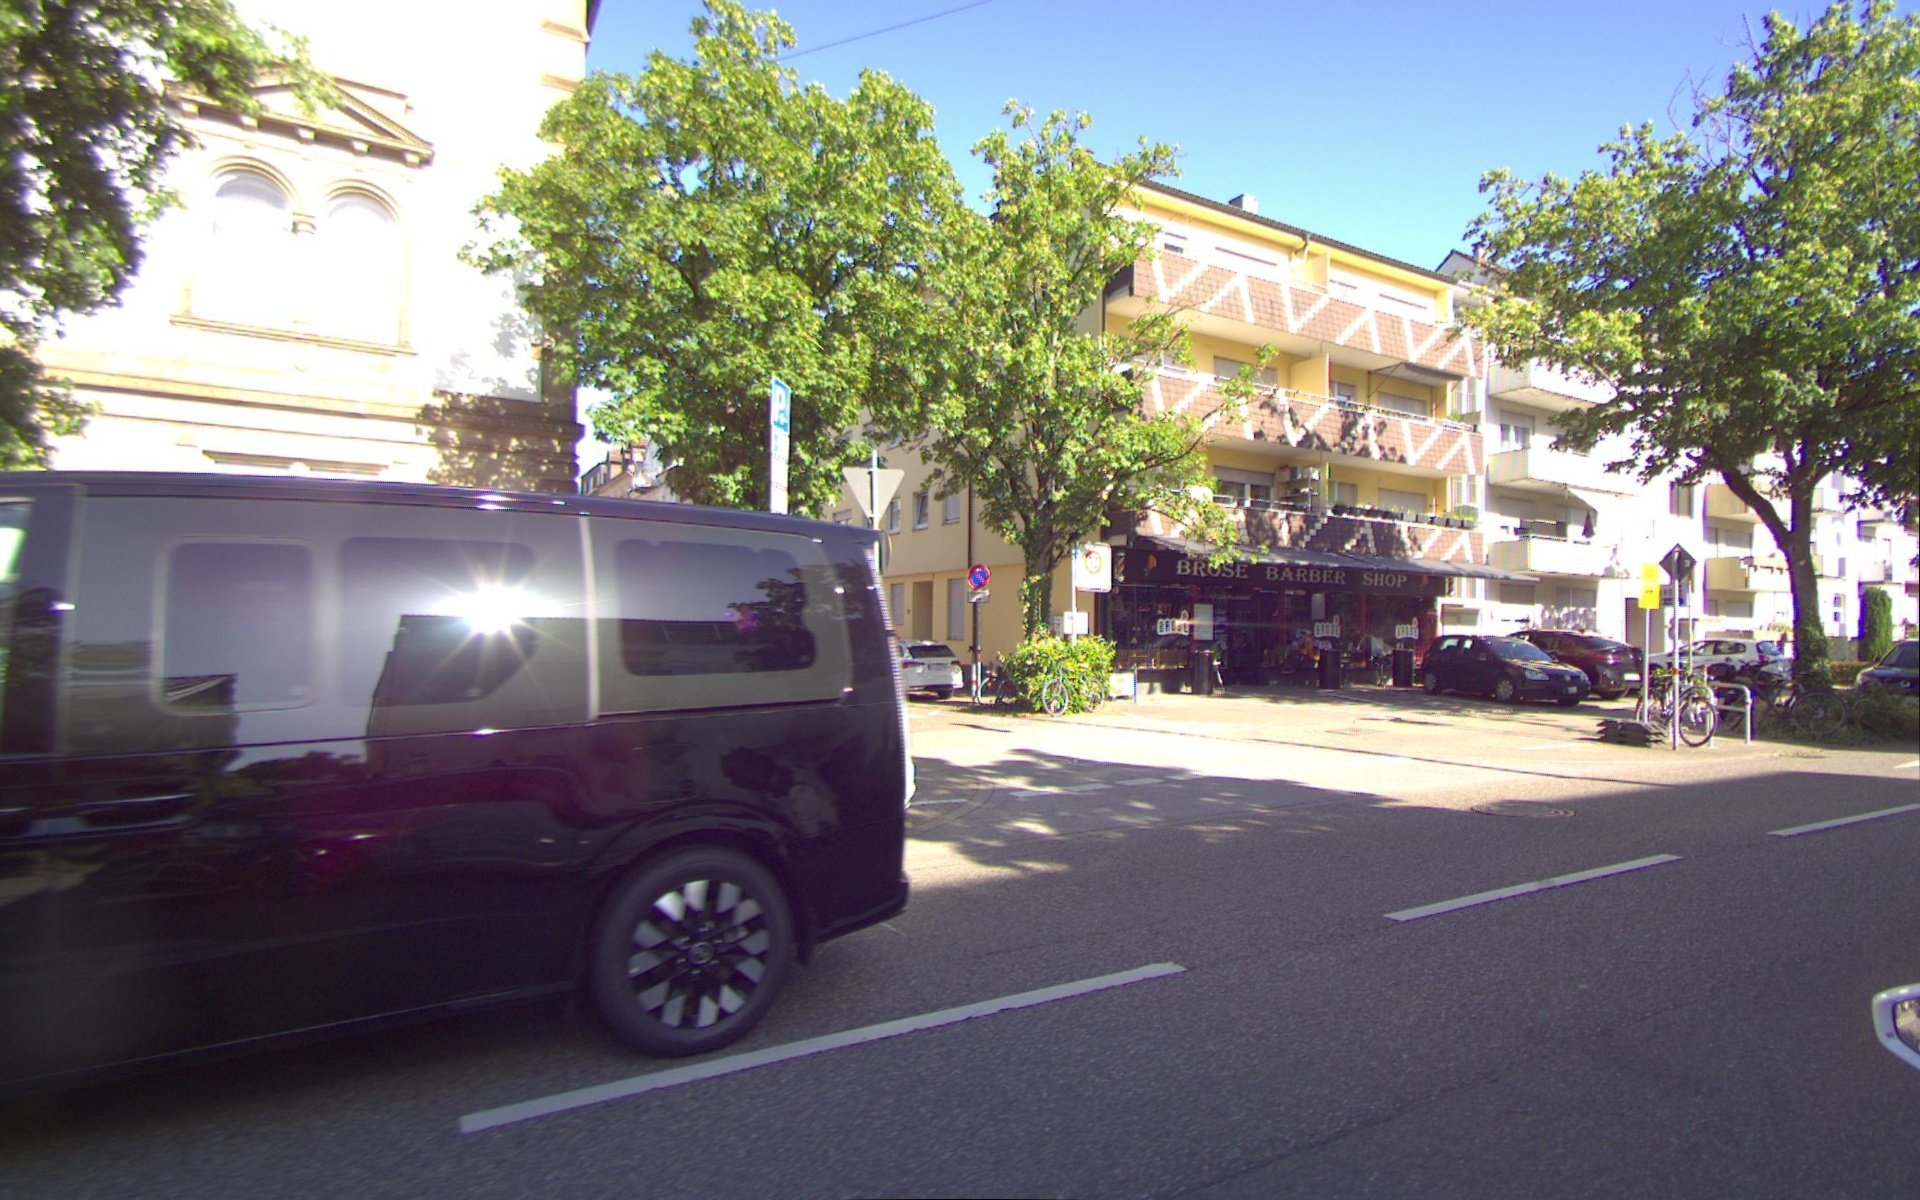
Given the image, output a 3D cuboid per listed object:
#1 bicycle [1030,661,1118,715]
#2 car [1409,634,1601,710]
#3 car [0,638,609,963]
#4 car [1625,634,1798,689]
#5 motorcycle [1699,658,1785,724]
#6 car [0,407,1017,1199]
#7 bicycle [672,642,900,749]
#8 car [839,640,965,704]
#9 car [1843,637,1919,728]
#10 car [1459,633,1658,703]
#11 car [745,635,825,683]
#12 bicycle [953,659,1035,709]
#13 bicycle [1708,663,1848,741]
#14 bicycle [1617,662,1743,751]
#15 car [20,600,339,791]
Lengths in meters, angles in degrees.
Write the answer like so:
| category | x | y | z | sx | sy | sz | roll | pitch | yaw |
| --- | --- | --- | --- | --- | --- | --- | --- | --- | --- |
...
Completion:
| category | x | y | z | sx | sy | sz | roll | pitch | yaw |
| --- | --- | --- | --- | --- | --- | --- | --- | --- | --- |
| bicycle | 2.227 | 1.693 | 19.541 | 1.734 | 0.972 | 0.402 | 0 | -2 | -24 |
| car | 12.266 | 1.566 | 22.922 | 1.702 | 1.475 | 3.992 | 1 | -1 | -11 |
| car | -4.544 | 0.936 | 5.425 | 4.746 | 1.407 | 1.825 | 2 | -1 | -31 |
| car | 23.483 | 1.876 | 31.513 | 1.859 | 1.506 | 3.968 | 1 | -1 | -30 |
| motorcycle | 14.220 | 1.633 | 18.252 | 1.692 | 1.140 | 0.460 | 1 | -1 | -23 |
| car | -2.467 | 0.570 | 3.622 | 5.119 | 1.977 | 2.006 | 2 | -4 | -31 |
| bicycle | -2.433 | 1.276 | 13.901 | 3.116 | 1.278 | 0.952 | 0 | -3 | 26 |
| car | -1.554 | 1.758 | 25.540 | 1.627 | 1.461 | 3.969 | 0 | -2 | -30 |
| car | 19.026 | 1.557 | 19.448 | 4.088 | 1.617 | 1.714 | 2 | -1 | -30 |
| car | 14.410 | 1.585 | 24.452 | 1.707 | 1.480 | 3.981 | 1 | -1 | -21 |
| car | -5.799 | 1.891 | 33.041 | 1.475 | 1.461 | 3.634 | 0 | -2 | -30 |
| bicycle | 0.735 | 1.785 | 21.507 | 1.734 | 0.993 | 0.402 | 0 | -2 | -24 |
| bicycle | 13.278 | 1.624 | 16.390 | 0.453 | 1.106 | 2.027 | 1 | -1 | -7 |
| bicycle | 10.790 | 1.564 | 15.128 | 0.453 | 1.150 | 1.936 | 1 | -1 | -2 |
| car | -8.305 | 0.852 | 10.593 | 3.857 | 1.666 | 1.674 | 0 | -1 | 37 |
